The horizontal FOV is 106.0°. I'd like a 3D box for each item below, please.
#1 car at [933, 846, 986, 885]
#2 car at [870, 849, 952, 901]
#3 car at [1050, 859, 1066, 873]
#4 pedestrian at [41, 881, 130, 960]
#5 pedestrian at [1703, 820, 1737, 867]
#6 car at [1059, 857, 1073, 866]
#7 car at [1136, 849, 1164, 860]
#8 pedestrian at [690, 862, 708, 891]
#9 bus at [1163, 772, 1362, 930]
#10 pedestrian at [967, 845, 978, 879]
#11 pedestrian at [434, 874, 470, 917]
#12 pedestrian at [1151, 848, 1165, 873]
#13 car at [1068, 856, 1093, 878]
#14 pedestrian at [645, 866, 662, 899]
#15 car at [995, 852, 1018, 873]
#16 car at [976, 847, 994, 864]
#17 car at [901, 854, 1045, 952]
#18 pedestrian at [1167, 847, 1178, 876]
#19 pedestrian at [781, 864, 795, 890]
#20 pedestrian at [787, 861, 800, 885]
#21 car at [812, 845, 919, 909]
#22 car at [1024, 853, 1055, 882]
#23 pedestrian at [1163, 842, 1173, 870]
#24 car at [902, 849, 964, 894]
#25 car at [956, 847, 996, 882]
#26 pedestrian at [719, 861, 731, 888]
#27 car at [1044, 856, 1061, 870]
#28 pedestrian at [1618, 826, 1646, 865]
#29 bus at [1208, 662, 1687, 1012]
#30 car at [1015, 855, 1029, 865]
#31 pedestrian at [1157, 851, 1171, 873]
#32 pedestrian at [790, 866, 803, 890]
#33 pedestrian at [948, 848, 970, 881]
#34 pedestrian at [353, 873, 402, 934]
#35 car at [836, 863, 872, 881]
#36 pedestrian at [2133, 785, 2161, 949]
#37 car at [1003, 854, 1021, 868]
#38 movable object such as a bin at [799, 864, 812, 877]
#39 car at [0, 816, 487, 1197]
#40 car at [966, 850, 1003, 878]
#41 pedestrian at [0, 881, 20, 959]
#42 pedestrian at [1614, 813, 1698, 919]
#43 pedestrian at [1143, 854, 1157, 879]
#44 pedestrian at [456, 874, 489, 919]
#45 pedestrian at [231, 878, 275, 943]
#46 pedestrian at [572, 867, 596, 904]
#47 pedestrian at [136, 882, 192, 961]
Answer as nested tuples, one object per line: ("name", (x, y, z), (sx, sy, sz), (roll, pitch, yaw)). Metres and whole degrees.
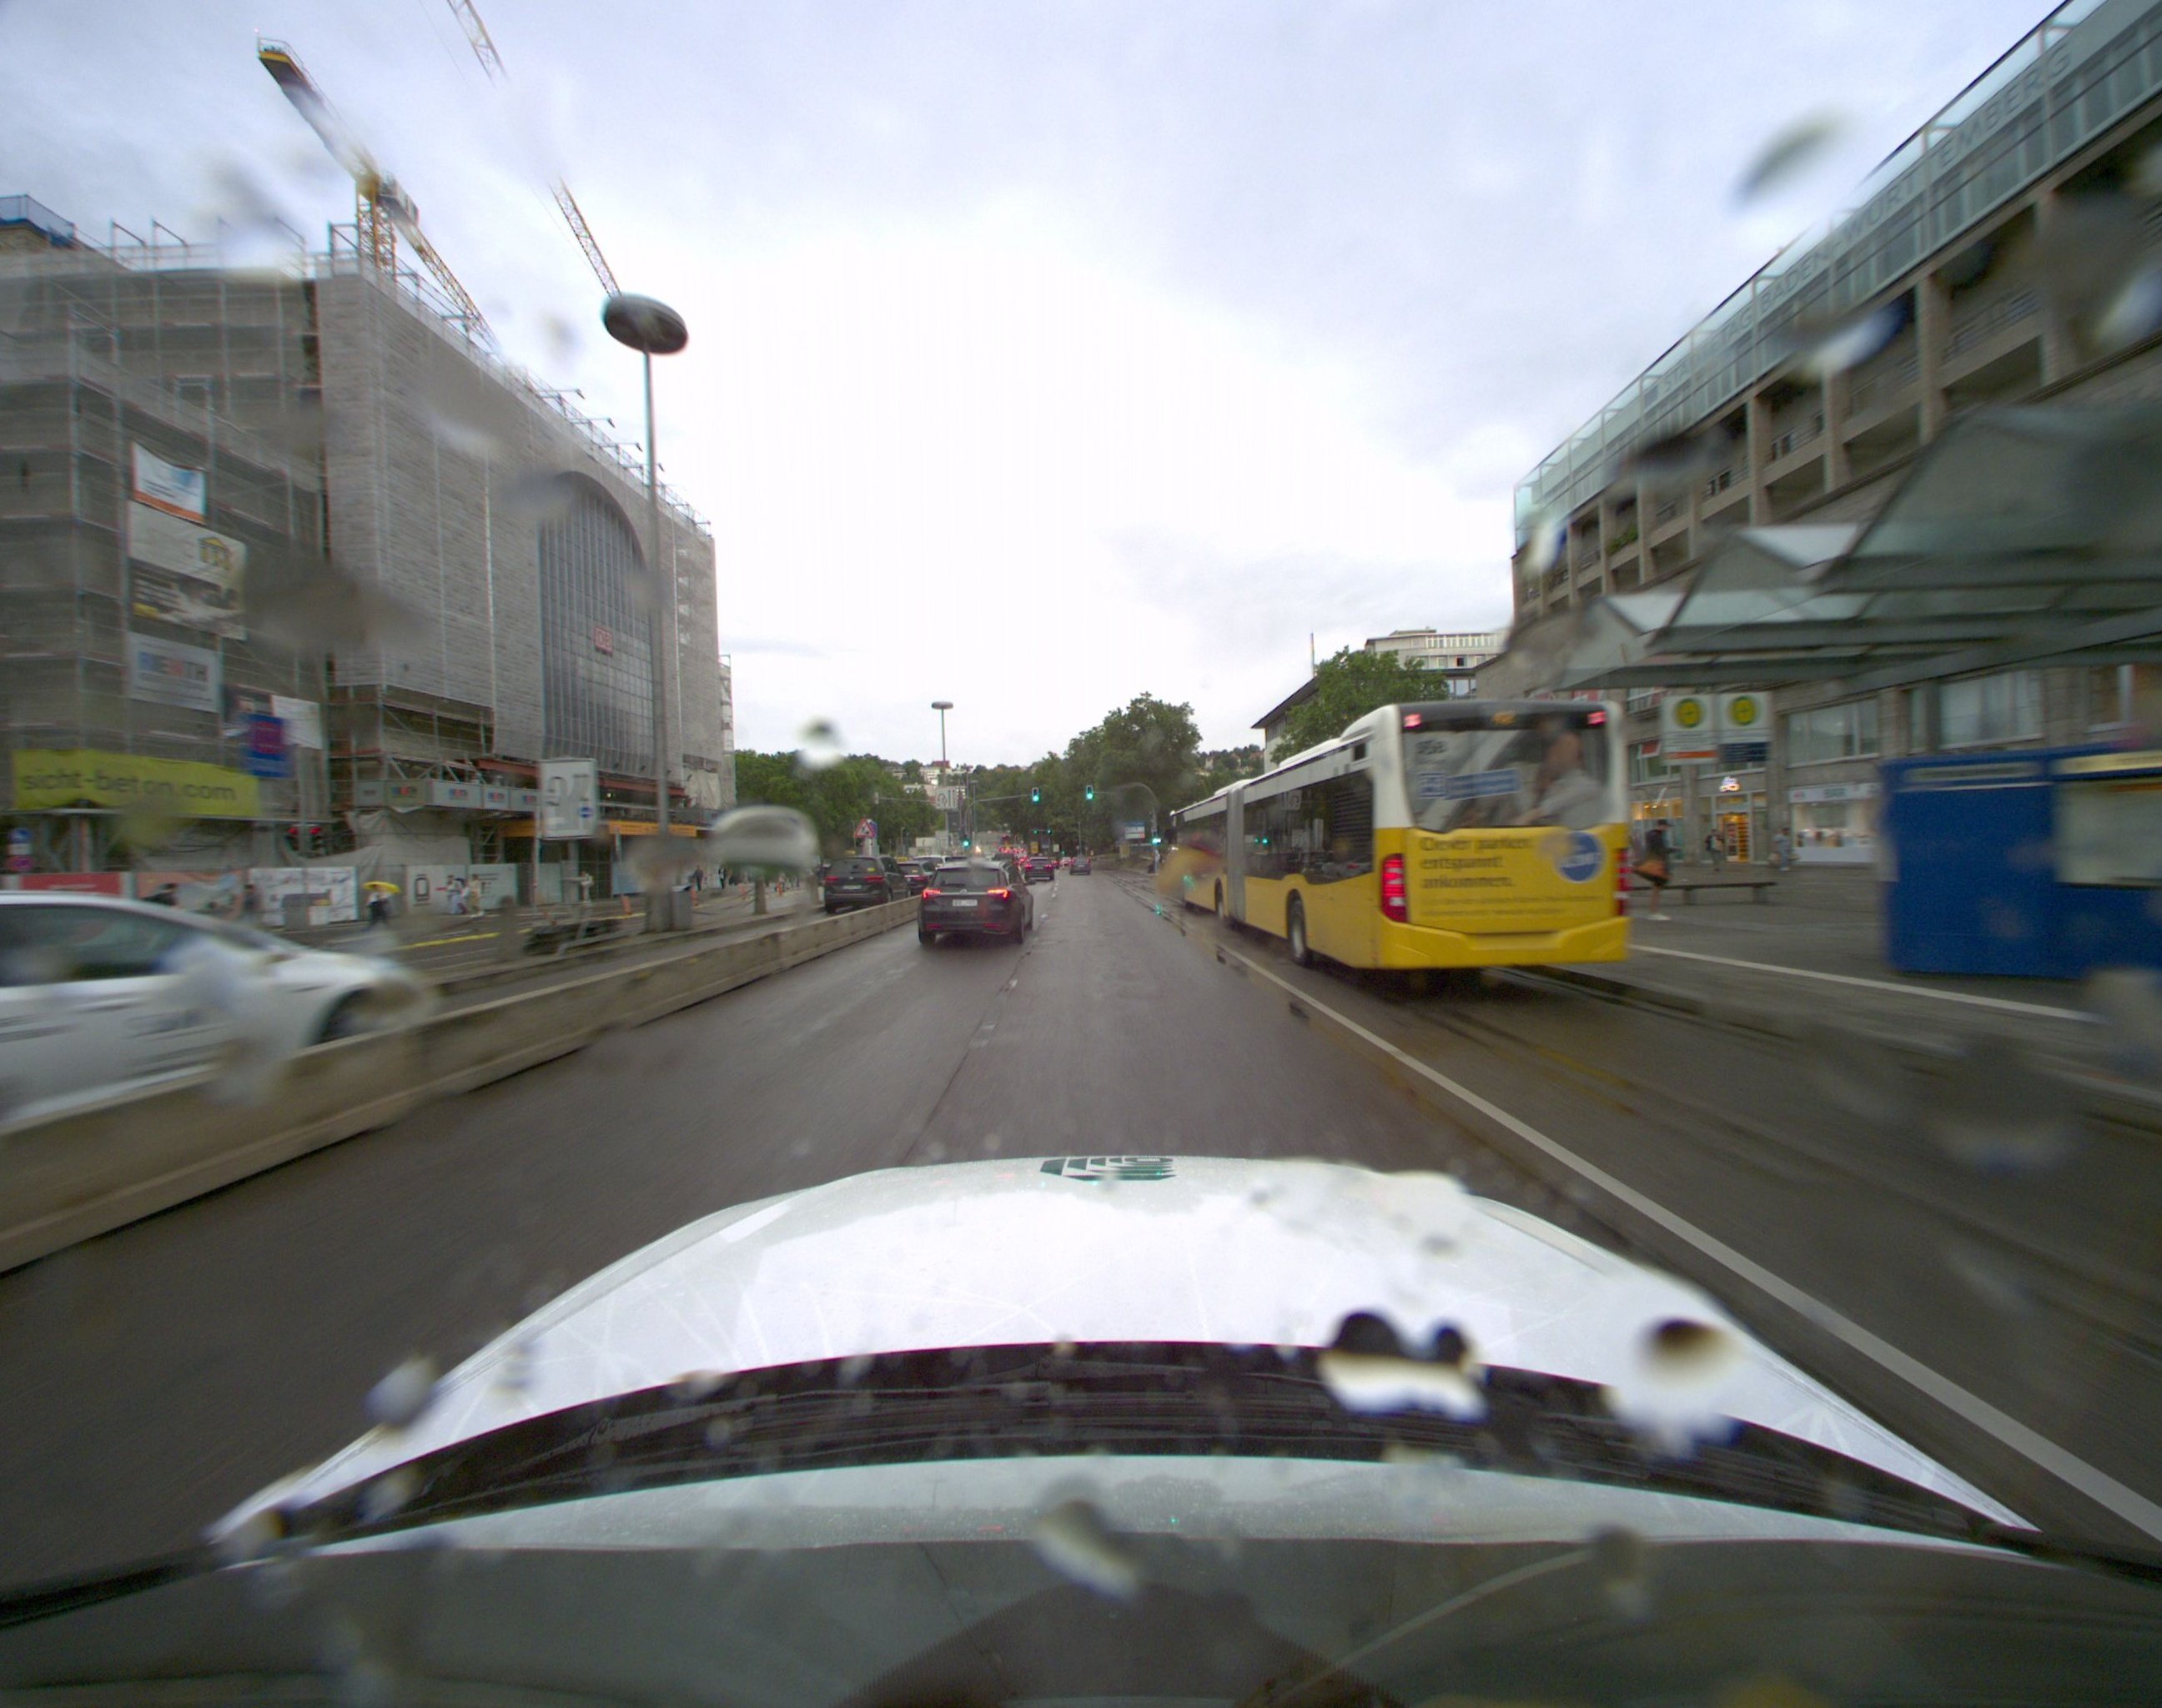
("car", (-6.146, 0.555, 41.663), (1.988, 1.787, 4.845), (-2, 0, -1))
("car", (-6.257, 0.719, 30.579), (2.044, 1.711, 5.052), (-2, 0, -1))
("car", (-2.596, 1.325, 92.446), (1.669, 1.581, 3.238), (-1, -1, -1))
("pedestrian", (-24.496, 1.612, 20.066), (0.835, 1.841, 1.059), (-2, 0, 4))
("pedestrian", (24.930, -0.389, 31.775), (0.649, 1.792, 0.790), (-2, 0, 4))
("car", (-2.546, 1.296, 137.784), (1.814, 1.574, 3.985), (-1, -1, -11))
("car", (9.733, 0.079, 115.061), (3.572, 1.506, 1.745), (-1, -1, 38))
("pedestrian", (-25.052, 1.441, 53.389), (0.776, 1.841, 0.771), (-2, 0, -1))
("bus", (4.207, -0.036, 21.405), (3.103, 3.205, 9.239), (-1, 0, 0))
("pedestrian", (-6.628, 0.482, 49.884), (0.526, 2.013, 0.890), (-2, 0, -2))
("pedestrian", (-24.564, 1.617, 31.821), (0.673, 1.613, 0.839), (-2, 0, 2))
("pedestrian", (5.736, 0.501, 60.626), (0.746, 1.804, 0.706), (-2, 0, -15))
("car", (-0.070, 1.085, 66.900), (1.847, 1.717, 3.997), (-1, -1, -2))
("pedestrian", (-24.725, 1.655, 47.065), (0.534, 1.841, 0.771), (-2, 0, 0))
("car", (-6.810, 0.799, 75.005), (1.990, 1.845, 5.055), (-1, 0, -4))
("car", (-11.772, 0.177, 99.643), (1.990, 2.014, 5.360), (-1, -1, -5))
("car", (-1.841, 0.786, 15.443), (1.870, 1.508, 4.854), (-2, 0, 2))
("pedestrian", (7.052, 0.569, 62.729), (0.555, 2.146, 0.665), (-2, 0, -15))
("pedestrian", (-20.858, 1.648, 58.025), (0.636, 1.841, 0.775), (-2, 0, -1))
("pedestrian", (-22.001, 1.451, 62.305), (0.696, 1.841, 0.528), (-2, 0, -2))
("car", (-6.285, 0.622, 24.327), (1.988, 1.654, 4.639), (-2, 0, -1))
("car", (-2.619, 0.824, 52.096), (1.826, 1.686, 4.131), (-2, 0, -2))
("pedestrian", (6.816, 0.131, 63.836), (0.704, 2.146, 0.723), (-2, 0, 8))
("car", (-6.395, 0.728, 35.657), (1.988, 1.787, 4.451), (-2, 0, -2))
("car", (-6.018, 0.572, 47.123), (1.708, 1.892, 4.609), (-2, 0, 0))
("pedestrian", (-25.473, 1.465, 58.282), (0.675, 1.841, 0.717), (-1, 0, -14))
("car", (-3.396, 1.081, 97.687), (1.899, 1.717, 3.997), (-1, -1, -2))
("pedestrian", (25.911, -0.407, 38.329), (0.729, 1.792, 0.789), (-2, 0, 0))
("bus", (4.161, -0.132, 12.238), (3.130, 3.247, 9.135), (-1, 0, 1))
("car", (-10.603, 1.041, 146.399), (1.994, 1.827, 3.986), (-1, -1, -10))
("pedestrian", (6.332, 0.612, 62.140), (0.872, 1.691, 0.758), (-2, 0, -1))
("pedestrian", (-22.015, 1.846, 63.008), (0.695, 1.841, 0.877), (-1, -1, -2))
("pedestrian", (-7.549, 0.666, 50.458), (0.825, 2.013, 1.034), (-2, 0, 37))
("pedestrian", (-22.420, 1.562, 25.970), (0.876, 1.841, 0.835), (-1, 0, -14))
("car", (-19.690, 1.525, 70.862), (1.987, 1.468, 4.000), (-1, 0, 0))
("pedestrian", (12.390, 0.122, 8.870), (0.791, 1.804, 0.983), (-2, 0, -28))
("car", (-7.630, 0.772, 90.521), (1.820, 1.511, 4.484), (-1, 0, -4))
("movable object such as a bin", (-21.304, 1.276, 62.948), (0.757, 0.970, 0.720), (-2, 0, -2))
("car", (-5.865, 0.722, 4.245), (1.988, 1.706, 4.830), (-2, 0, -1))
("car", (-6.255, 0.648, 53.220), (1.781, 1.685, 4.666), (-2, 0, 0))
("pedestrian", (-26.200, 1.596, 19.361), (0.799, 1.841, 0.851), (-2, 0, 4))
("pedestrian", (10.300, 0.212, 14.626), (0.977, 1.836, 0.839), (-2, 0, 16))
("pedestrian", (5.363, 0.967, 63.374), (0.788, 1.838, 0.945), (-2, 0, -15))
("pedestrian", (-23.422, 1.614, 31.353), (0.682, 1.685, 0.835), (-1, 0, -14))
("pedestrian", (-24.340, 1.658, 23.948), (0.571, 1.841, 0.701), (-1, 0, -14))
("pedestrian", (-25.079, 1.573, 41.086), (0.772, 1.841, 0.831), (-1, 0, -14))
("pedestrian", (-22.087, 1.612, 19.624), (0.506, 1.841, 0.703), (-2, 0, -6))
